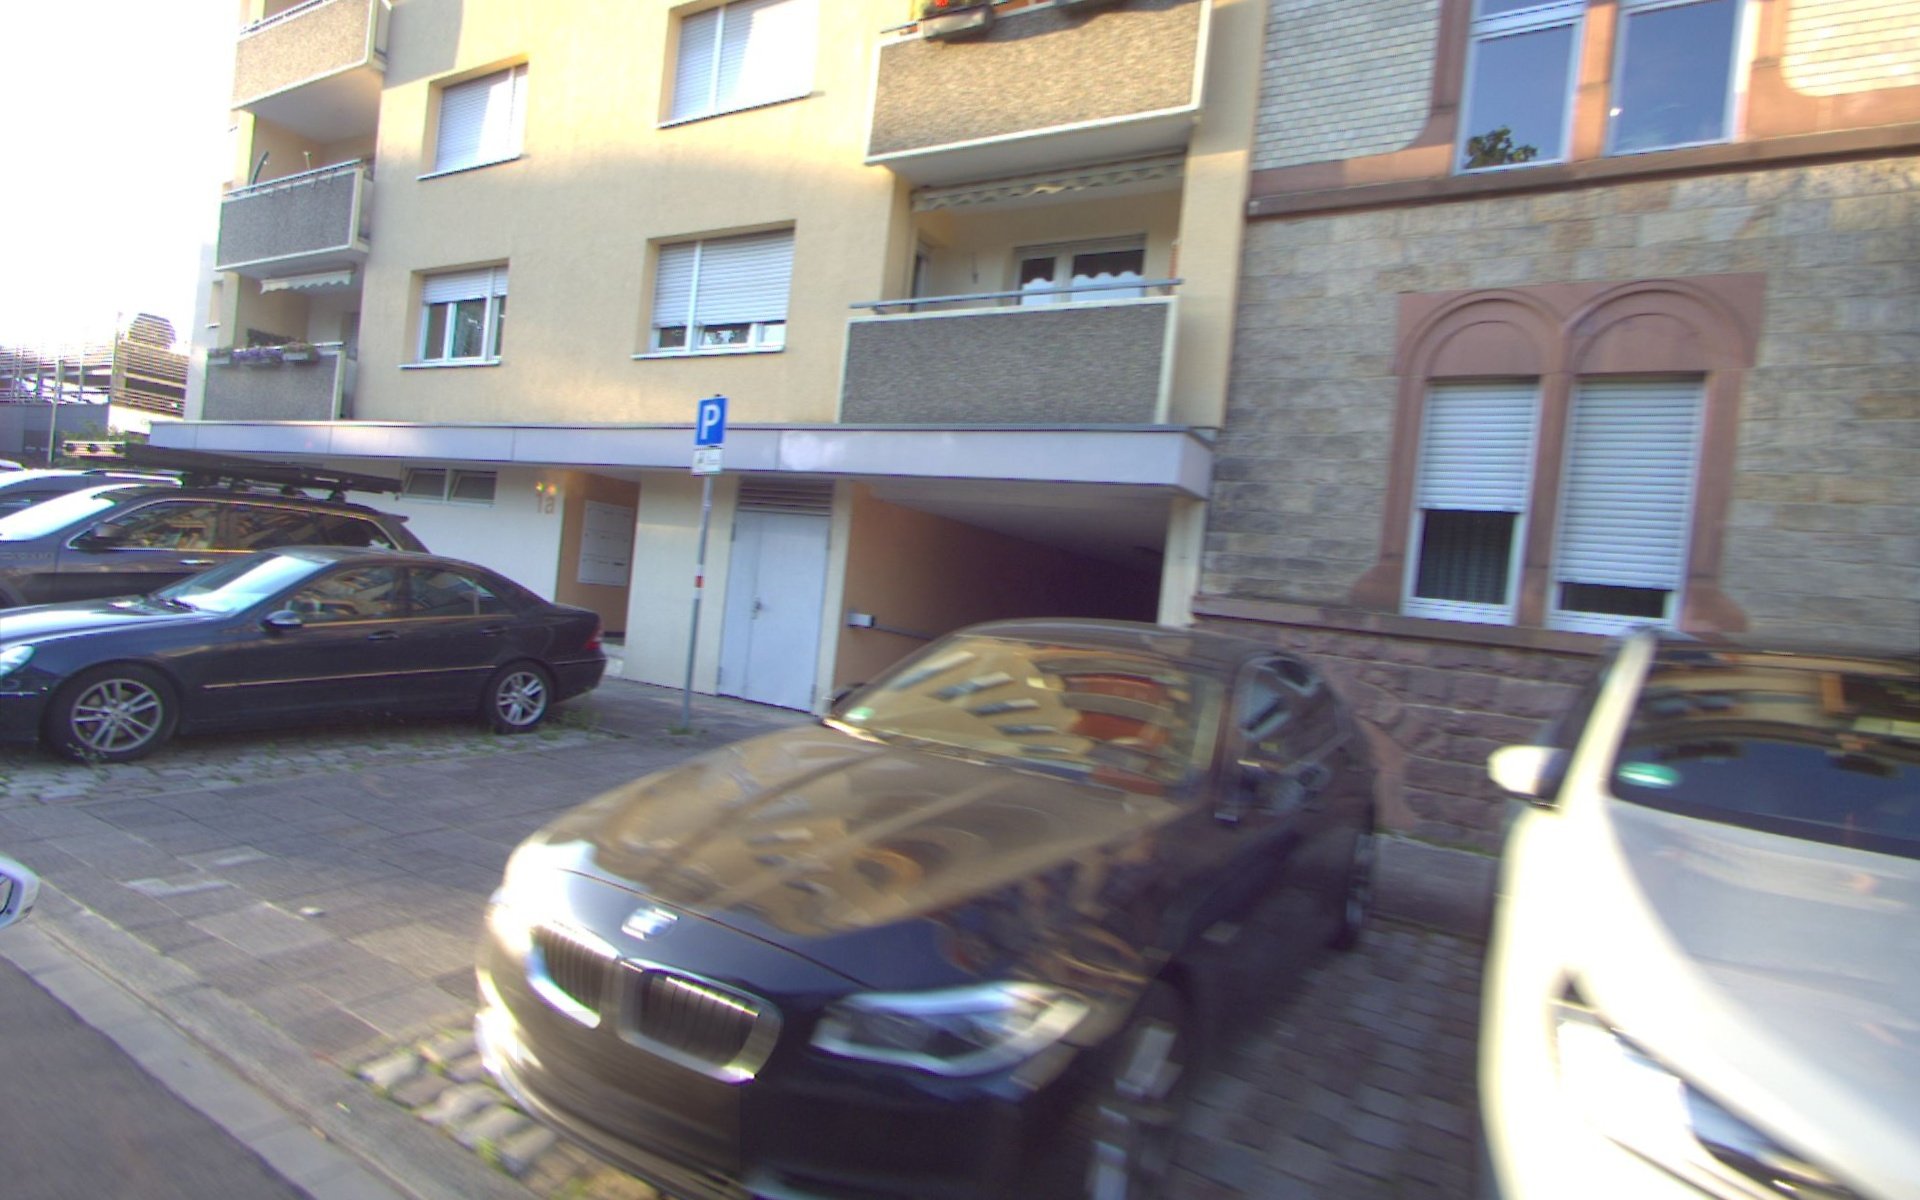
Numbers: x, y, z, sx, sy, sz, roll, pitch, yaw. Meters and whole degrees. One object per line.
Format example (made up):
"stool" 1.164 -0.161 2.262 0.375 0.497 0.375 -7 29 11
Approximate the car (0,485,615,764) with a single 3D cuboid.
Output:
"car" -5.119 0.190 7.757 1.816 1.573 4.404 4 -1 33

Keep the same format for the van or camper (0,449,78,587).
"van or camper" -17.025 -1.410 15.243 2.006 2.197 5.134 6 3 29

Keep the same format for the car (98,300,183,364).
"car" -37.782 -12.292 46.353 3.939 2.037 1.994 6 -1 37

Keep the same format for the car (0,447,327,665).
"car" -9.384 -0.427 10.204 1.815 2.006 4.641 4 0 31

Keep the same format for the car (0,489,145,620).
"car" -13.347 -0.689 12.657 1.815 1.612 4.407 4 -1 31

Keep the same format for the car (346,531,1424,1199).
"car" 0.420 0.772 3.923 1.816 1.573 4.404 4 -1 33

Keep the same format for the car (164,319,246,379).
"car" -36.434 -12.035 48.538 3.939 2.037 1.994 6 -1 37

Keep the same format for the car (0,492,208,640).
"car" -11.409 -0.449 11.243 1.815 1.582 4.407 4 -1 31

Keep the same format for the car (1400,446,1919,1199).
"car" 2.511 0.877 2.879 1.814 1.771 4.408 8 1 30

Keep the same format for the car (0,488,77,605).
"car" -15.395 -0.910 13.912 1.815 1.652 4.407 4 -1 31

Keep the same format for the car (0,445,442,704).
"car" -7.244 -0.207 8.731 1.815 1.887 4.516 6 1 31
